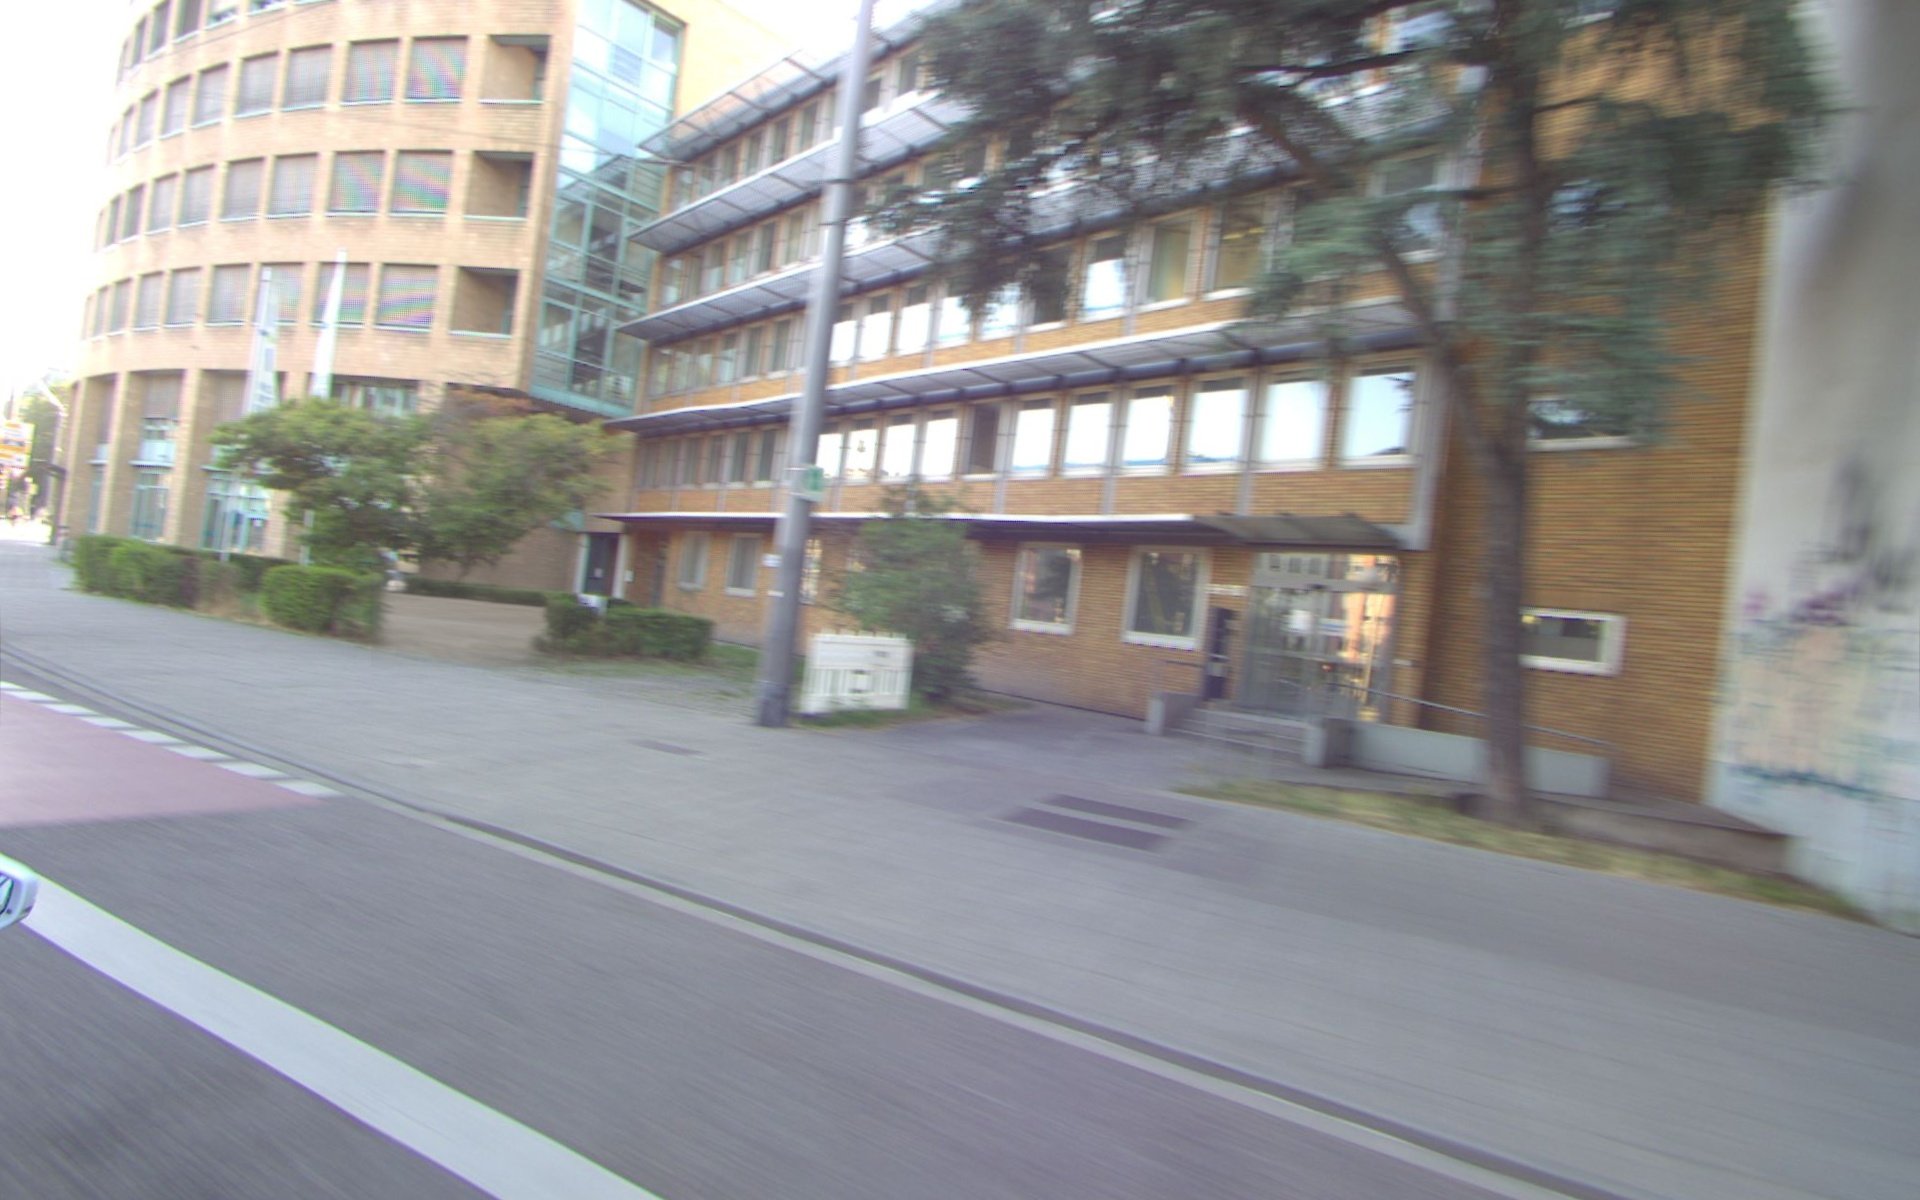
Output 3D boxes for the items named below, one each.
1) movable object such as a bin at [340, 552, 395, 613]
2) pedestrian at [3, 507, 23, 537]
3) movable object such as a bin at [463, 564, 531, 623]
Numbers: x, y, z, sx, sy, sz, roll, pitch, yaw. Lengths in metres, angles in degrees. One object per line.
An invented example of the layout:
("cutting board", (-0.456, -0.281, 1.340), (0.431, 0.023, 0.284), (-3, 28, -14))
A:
("movable object such as a bin", (-15.570, -0.471, 26.478), (0.962, 1.455, 1.337), (8, 0, -25))
("pedestrian", (-53.795, -4.428, 57.130), (0.789, 1.588, 0.675), (8, 0, 44))
("movable object such as a bin", (-12.968, -0.166, 28.186), (0.910, 1.441, 1.340), (8, 0, 38))
